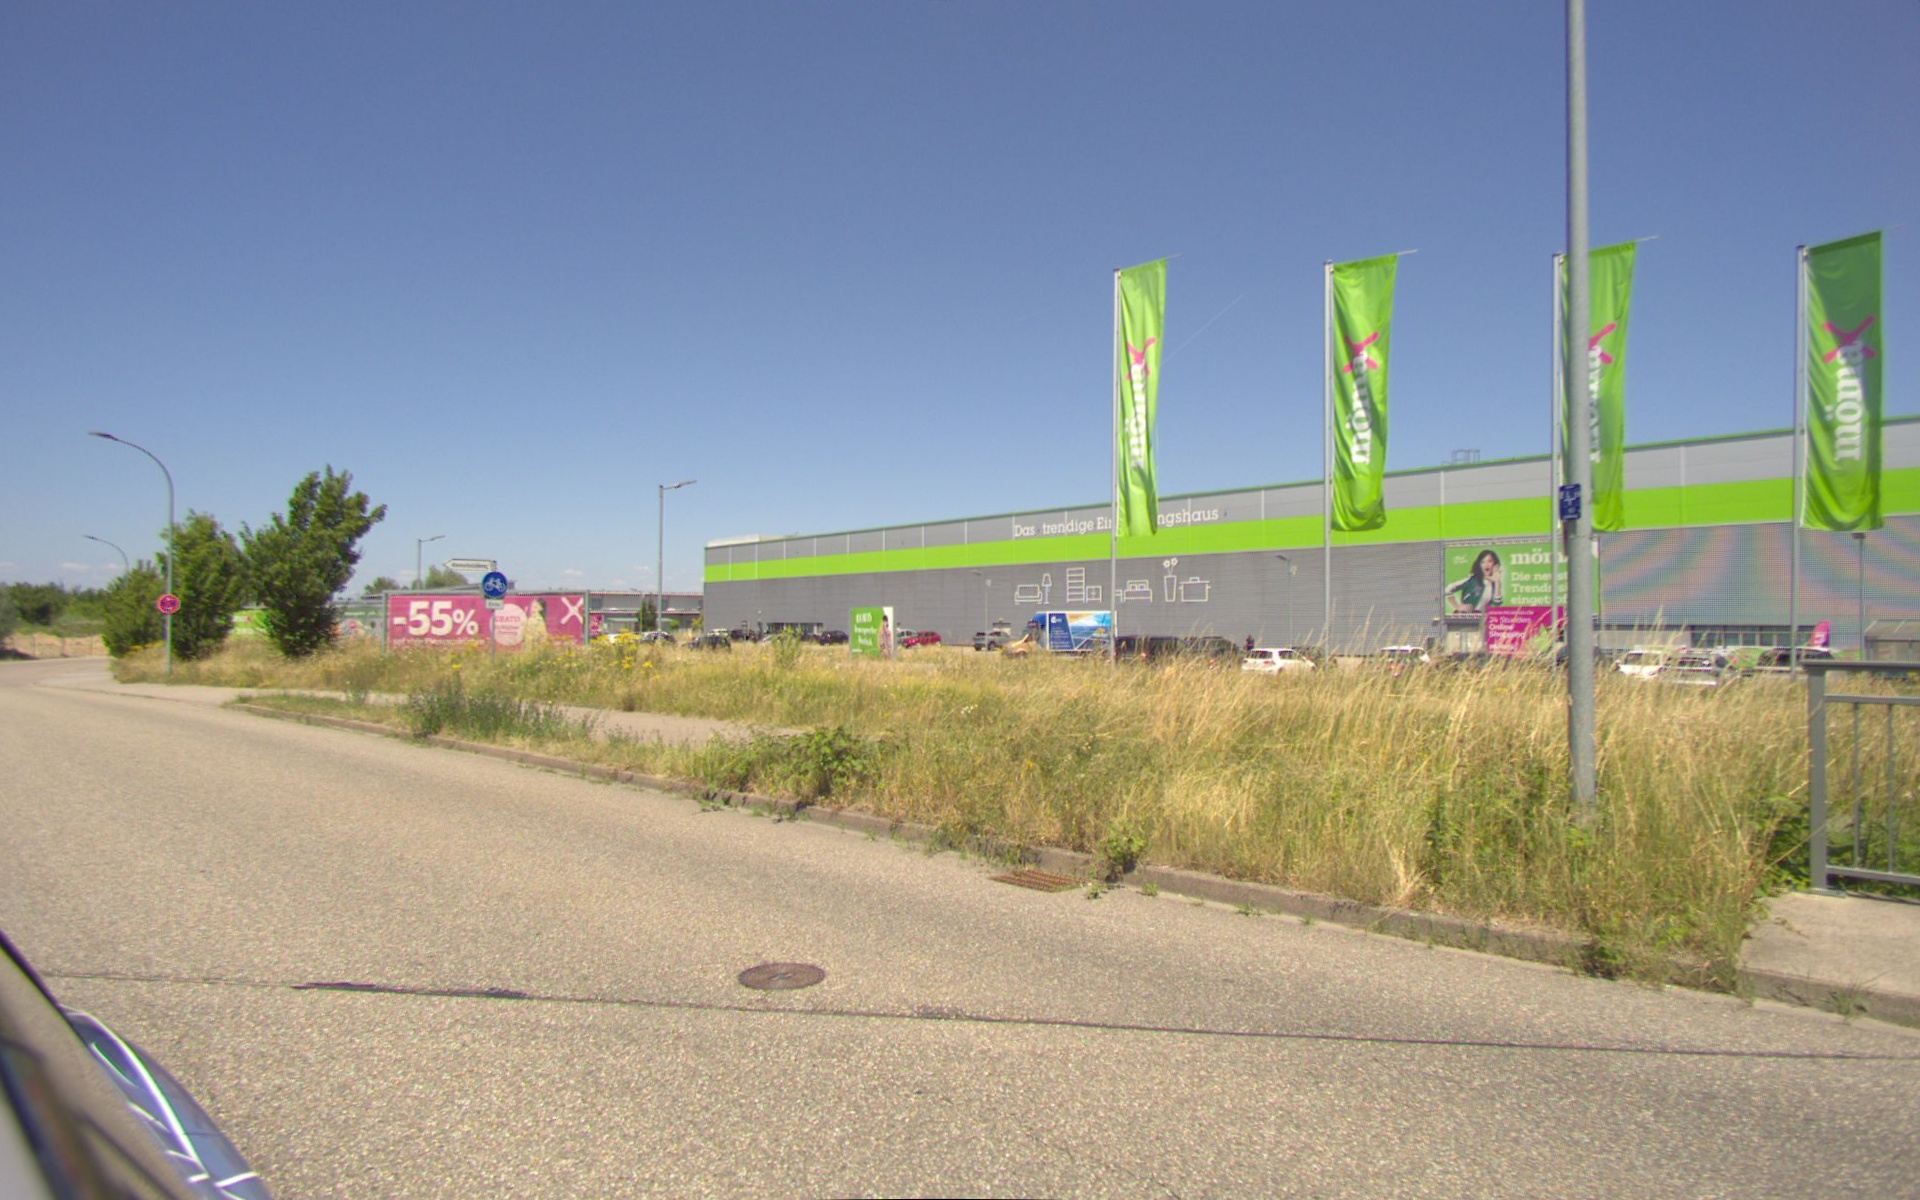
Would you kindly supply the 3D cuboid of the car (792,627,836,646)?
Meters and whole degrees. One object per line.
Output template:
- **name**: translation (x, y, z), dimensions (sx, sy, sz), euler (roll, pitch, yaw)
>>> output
- **car**: translation (-14.756, 3.647, 102.529), dimensions (3.940, 1.752, 2.002), euler (-1, 0, -44)

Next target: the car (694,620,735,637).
- **car**: translation (-27.623, 3.212, 113.985), dimensions (3.940, 1.752, 2.002), euler (-1, 0, -44)

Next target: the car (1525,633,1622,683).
- **car**: translation (21.257, 1.952, 34.993), dimensions (2.001, 1.455, 3.942), euler (-2, -1, 44)

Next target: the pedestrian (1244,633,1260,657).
- **pedestrian**: translation (18.618, 2.850, 64.484), dimensions (0.766, 1.463, 0.630), euler (-2, -1, 42)

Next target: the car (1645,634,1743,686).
- **car**: translation (23.790, 1.878, 32.762), dimensions (2.001, 1.420, 3.942), euler (-2, -1, 44)

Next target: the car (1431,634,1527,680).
- **car**: translation (18.880, 2.018, 36.748), dimensions (2.001, 1.441, 3.942), euler (-2, -1, 44)

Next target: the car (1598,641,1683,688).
- **car**: translation (26.240, 2.449, 38.969), dimensions (2.001, 1.524, 3.942), euler (-2, -1, 44)

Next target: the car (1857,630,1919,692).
- **car**: translation (27.016, 1.694, 28.824), dimensions (2.001, 1.524, 3.942), euler (-2, -1, 44)

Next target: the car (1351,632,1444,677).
- **car**: translation (17.037, 2.067, 39.334), dimensions (2.001, 1.524, 3.942), euler (-2, -1, 44)

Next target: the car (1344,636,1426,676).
- **car**: translation (18.740, 2.408, 44.560), dimensions (2.001, 1.524, 3.942), euler (-2, -1, 44)

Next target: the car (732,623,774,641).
- **car**: translation (-22.287, 3.435, 109.170), dimensions (3.940, 1.752, 2.002), euler (-1, 0, -44)

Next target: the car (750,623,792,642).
- **car**: translation (-19.948, 3.415, 106.795), dimensions (3.940, 1.752, 2.002), euler (-1, 0, -44)

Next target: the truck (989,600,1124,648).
- **truck**: translation (5.903, 1.482, 62.390), dimensions (7.650, 2.704, 2.968), euler (-1, -2, -11)

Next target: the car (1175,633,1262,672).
- **car**: translation (11.491, 2.283, 44.838), dimensions (2.001, 1.524, 3.942), euler (-2, -1, 44)

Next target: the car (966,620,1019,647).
- **car**: translation (2.667, 2.746, 83.312), dimensions (3.936, 2.029, 2.004), euler (-1, -1, -39)

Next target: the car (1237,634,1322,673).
- **car**: translation (13.669, 2.242, 43.184), dimensions (1.847, 1.448, 3.942), euler (-2, -1, 44)

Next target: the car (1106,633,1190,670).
- **car**: translation (8.829, 2.378, 47.316), dimensions (2.001, 1.478, 3.942), euler (-2, -1, 44)

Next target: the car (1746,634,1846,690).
- **car**: translation (25.259, 1.814, 30.524), dimensions (2.001, 1.427, 3.942), euler (-2, -1, 44)

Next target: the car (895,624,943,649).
- **car**: translation (-3.653, 3.260, 90.483), dimensions (3.938, 2.029, 1.913), euler (-1, -1, -42)

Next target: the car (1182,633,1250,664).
- **car**: translation (16.614, 3.103, 65.654), dimensions (3.931, 1.785, 2.006), euler (-1, -1, -28)

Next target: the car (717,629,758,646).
- **car**: translation (-24.410, 4.088, 111.221), dimensions (3.940, 1.752, 2.002), euler (-1, 0, -44)

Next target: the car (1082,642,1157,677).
- **car**: translation (9.224, 3.424, 58.432), dimensions (4.206, 1.775, 2.003), euler (-1, -1, -41)
